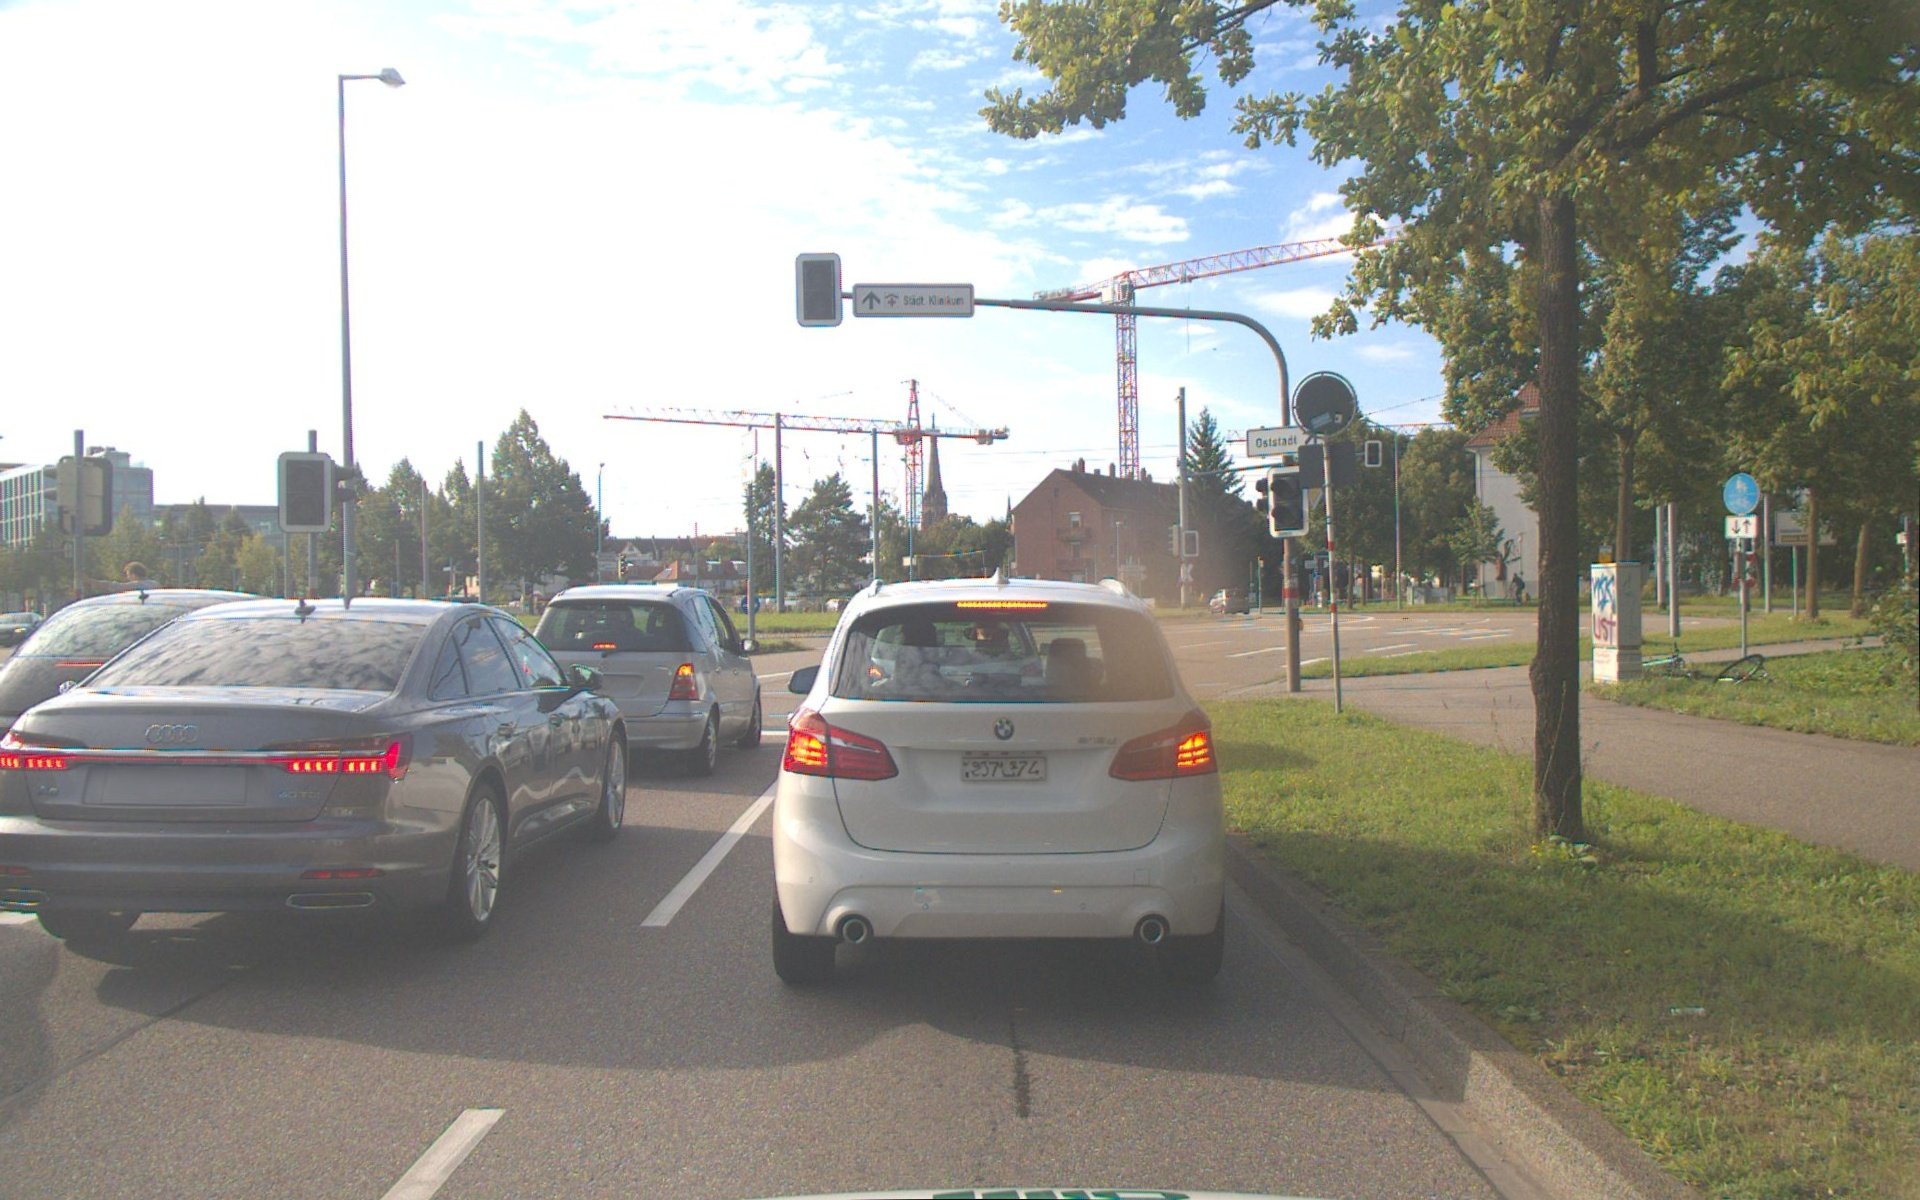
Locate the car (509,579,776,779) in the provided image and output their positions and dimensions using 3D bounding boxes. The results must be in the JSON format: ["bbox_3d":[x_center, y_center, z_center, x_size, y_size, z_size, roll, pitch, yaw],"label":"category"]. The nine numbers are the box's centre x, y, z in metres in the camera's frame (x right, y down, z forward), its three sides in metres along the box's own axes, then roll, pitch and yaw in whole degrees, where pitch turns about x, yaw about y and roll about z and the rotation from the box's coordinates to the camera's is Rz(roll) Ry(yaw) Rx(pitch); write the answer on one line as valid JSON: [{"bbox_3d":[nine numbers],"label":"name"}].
[{"bbox_3d":[-2.751,0.625,15.181,1.694,1.585,4.057,0,0,-1],"label":"car"}]

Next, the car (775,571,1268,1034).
[{"bbox_3d":[0.180,0.689,7.713,1.694,1.585,4.057,0,0,-1],"label":"car"}]

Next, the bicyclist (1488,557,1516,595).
[{"bbox_3d":[30.052,-1.334,91.717,0.811,2.049,1.212,2,-2,-31],"label":"bicyclist"}]

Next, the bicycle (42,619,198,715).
[{"bbox_3d":[-10.889,0.851,21.491,1.698,1.184,0.653,-1,0,-17],"label":"bicycle"}]

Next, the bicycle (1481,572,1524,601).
[{"bbox_3d":[30.062,-0.732,91.677,0.884,1.557,2.266,1,-1,-30],"label":"bicycle"}]

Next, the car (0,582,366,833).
[{"bbox_3d":[-5.840,0.664,12.138,1.646,1.549,3.809,0,0,-1],"label":"car"}]

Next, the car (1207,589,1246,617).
[{"bbox_3d":[15.929,0.170,98.907,1.539,1.601,3.195,-1,0,-5],"label":"car"}]

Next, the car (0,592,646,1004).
[{"bbox_3d":[-2.920,0.737,8.384,1.851,1.509,4.612,0,0,-1],"label":"car"}]

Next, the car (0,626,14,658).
[{"bbox_3d":[-48.684,2.118,82.538,1.759,1.602,3.979,-1,0,-18],"label":"car"}]

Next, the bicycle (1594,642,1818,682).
[{"bbox_3d":[9.490,0.778,21.216,1.382,0.392,2.569,-1,0,-12],"label":"bicycle"}]

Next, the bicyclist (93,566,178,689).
[{"bbox_3d":[-10.727,0.354,21.545,0.835,1.553,0.737,-1,0,-17],"label":"bicyclist"}]

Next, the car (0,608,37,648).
[{"bbox_3d":[-39.131,1.132,68.243,1.686,1.601,3.963,-1,0,-28],"label":"car"}]
